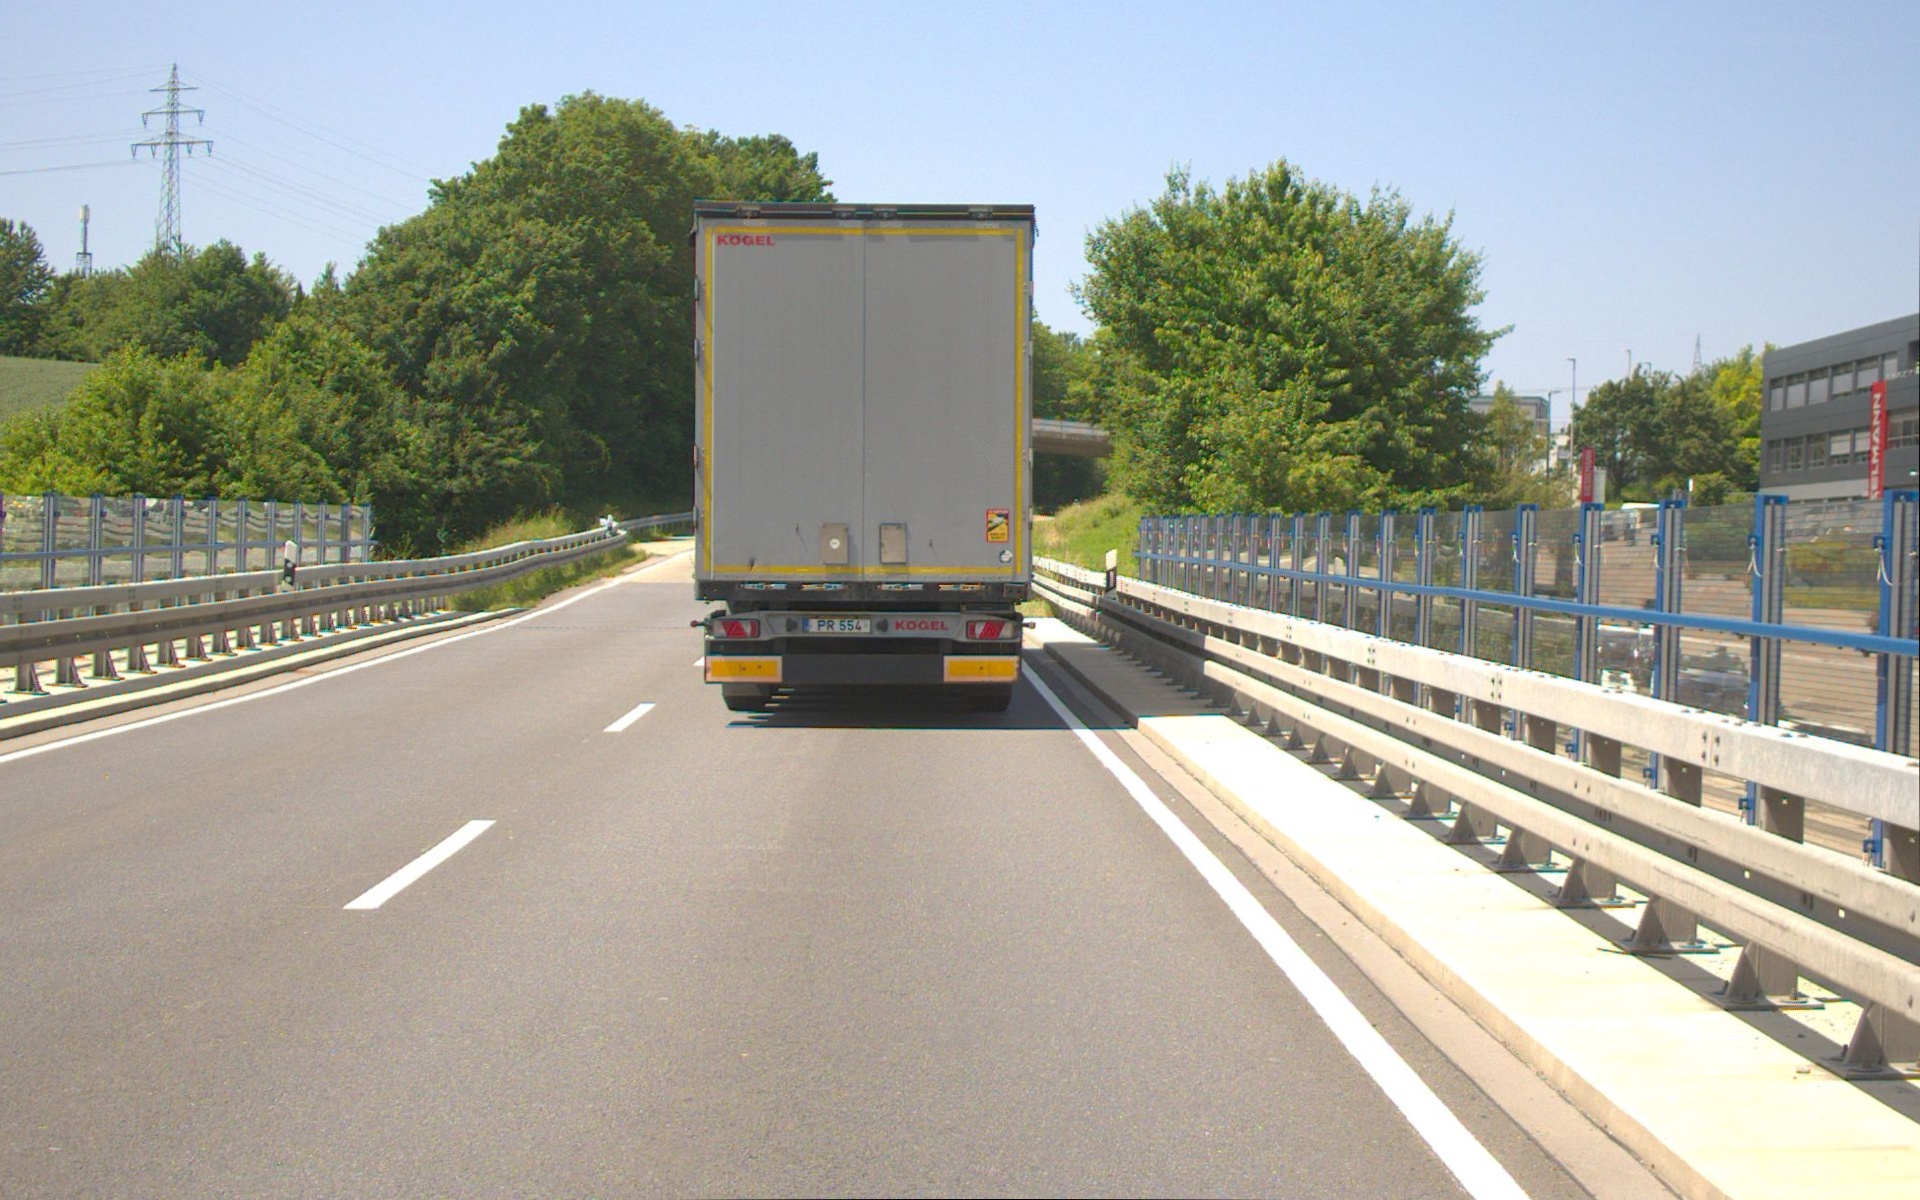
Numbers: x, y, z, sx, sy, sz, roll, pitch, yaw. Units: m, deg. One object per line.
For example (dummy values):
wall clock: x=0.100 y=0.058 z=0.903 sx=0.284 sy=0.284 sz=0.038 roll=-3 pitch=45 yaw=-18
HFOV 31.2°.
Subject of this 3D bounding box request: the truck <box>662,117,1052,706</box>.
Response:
truck: x=-0.834 y=-1.383 z=30.299 sx=2.866 sy=4.345 sz=9.789 roll=0 pitch=0 yaw=-1
